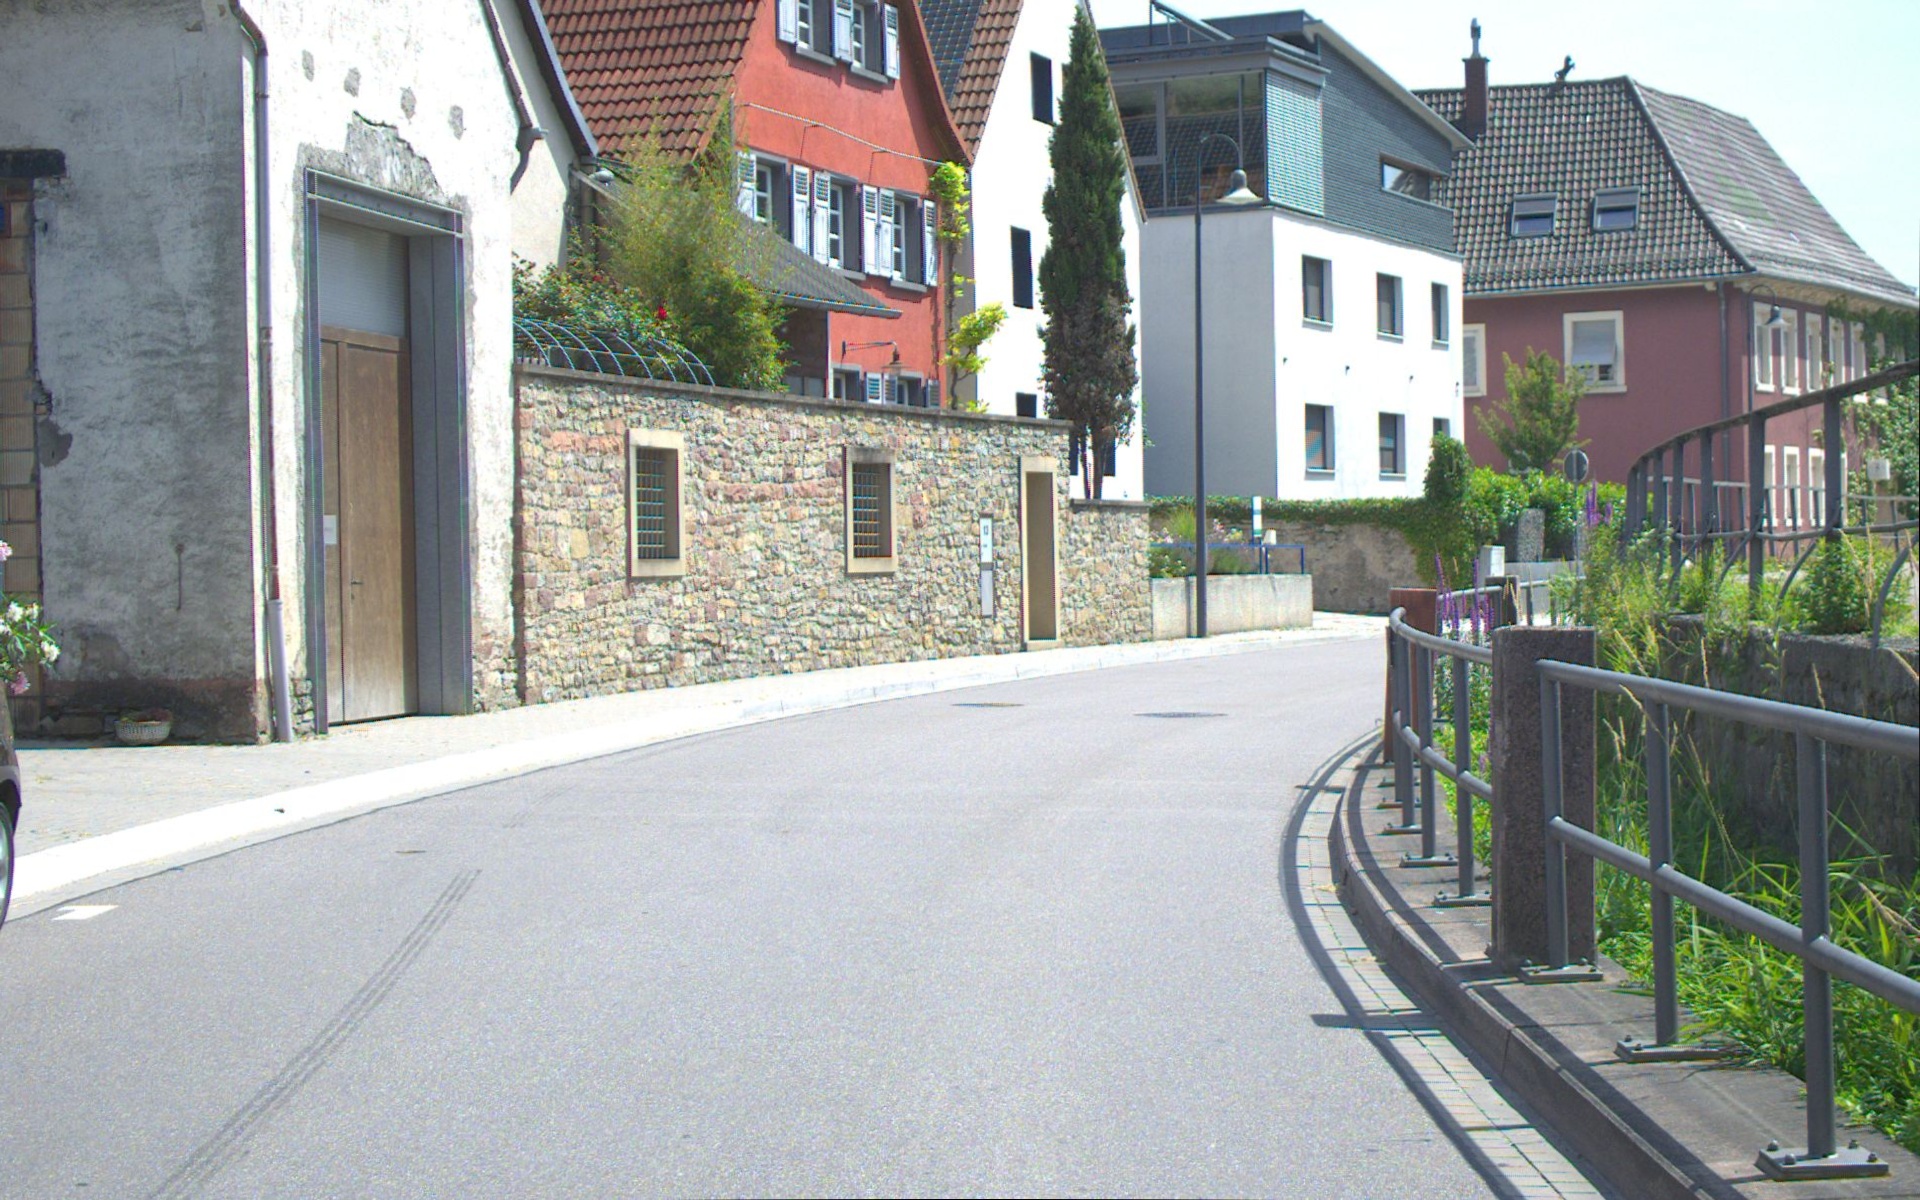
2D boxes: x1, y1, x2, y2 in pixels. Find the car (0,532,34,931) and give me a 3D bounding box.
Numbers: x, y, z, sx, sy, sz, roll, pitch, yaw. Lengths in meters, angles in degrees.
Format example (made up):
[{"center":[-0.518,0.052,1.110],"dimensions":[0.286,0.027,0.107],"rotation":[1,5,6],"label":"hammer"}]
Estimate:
[{"center":[-4.514,0.522,11.595],"dimensions":[1.717,1.525,3.857],"rotation":[2,1,0],"label":"car"}]
